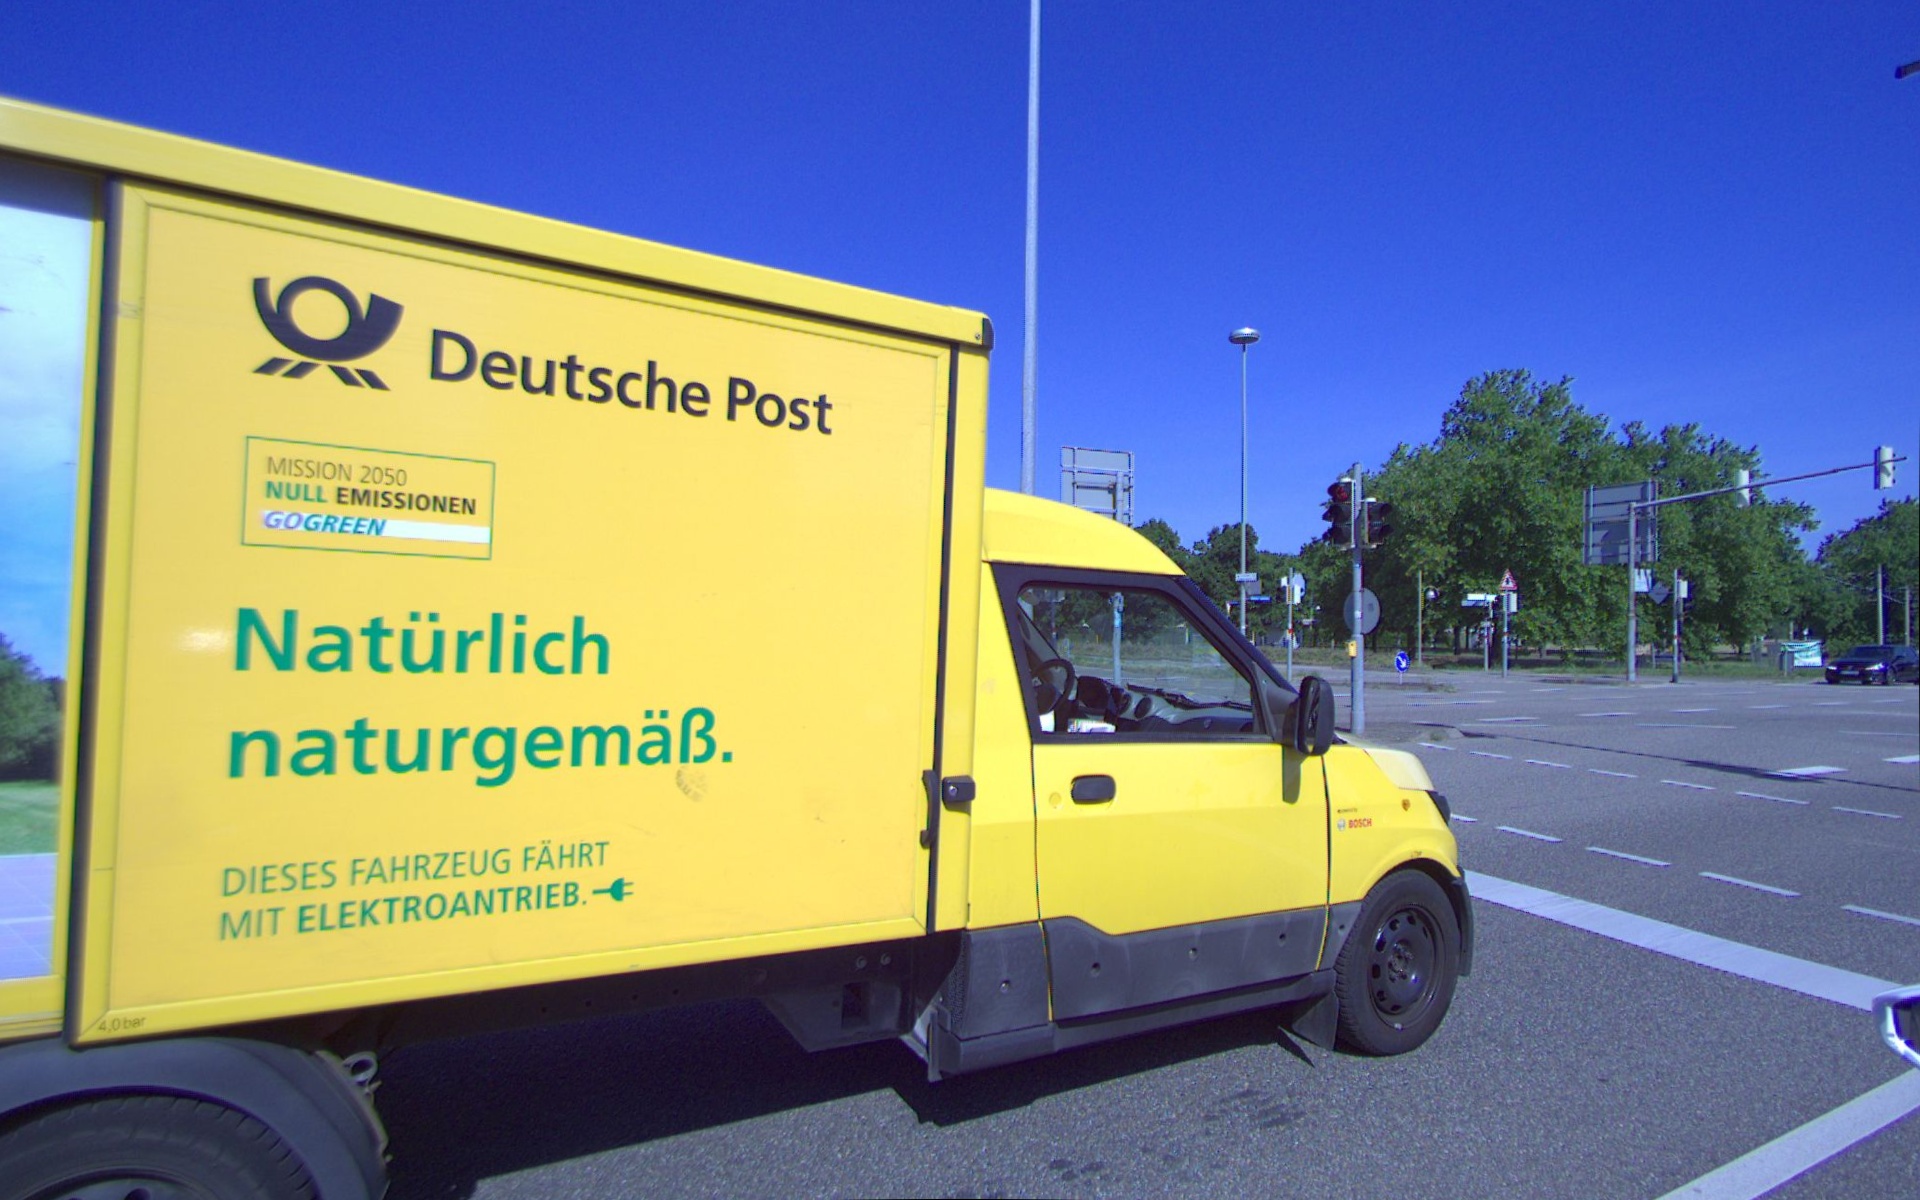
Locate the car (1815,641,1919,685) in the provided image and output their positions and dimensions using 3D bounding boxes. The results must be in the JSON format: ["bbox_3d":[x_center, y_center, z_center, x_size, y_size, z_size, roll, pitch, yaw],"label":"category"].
[{"bbox_3d":[32.997,2.248,36.186,4.174,1.476,1.879,2,-2,-26],"label":"car"}]

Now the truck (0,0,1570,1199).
[{"bbox_3d":[-0.888,0.182,3.009,5.848,2.490,2.101,2,0,-31],"label":"truck"}]

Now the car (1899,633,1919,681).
[{"bbox_3d":[38.275,2.209,38.948,4.183,1.793,1.695,2,-3,-32],"label":"car"}]
